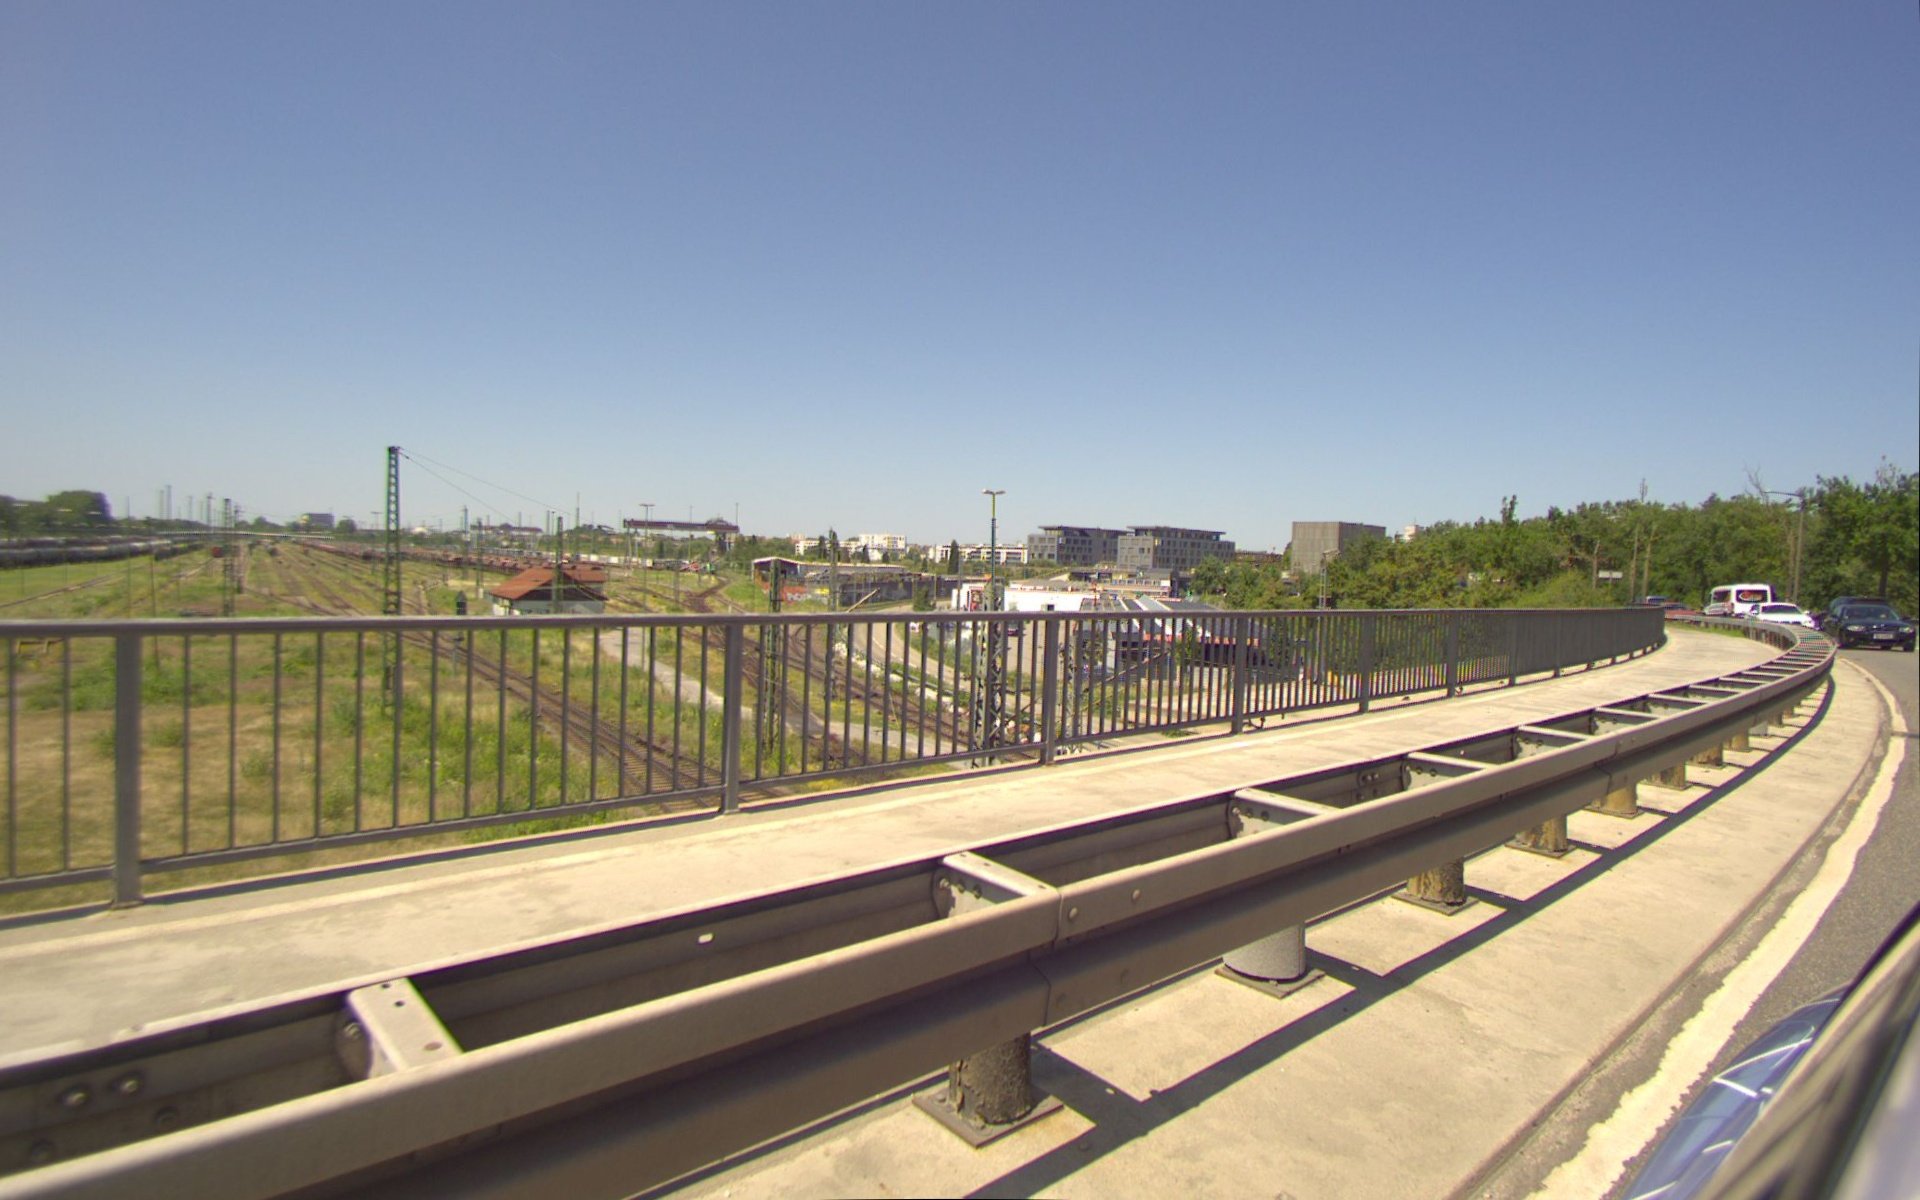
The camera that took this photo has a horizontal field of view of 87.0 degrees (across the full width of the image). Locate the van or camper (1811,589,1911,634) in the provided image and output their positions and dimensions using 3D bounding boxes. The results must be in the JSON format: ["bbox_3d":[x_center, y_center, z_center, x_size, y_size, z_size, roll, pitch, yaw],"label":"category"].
[{"bbox_3d":[40.131,0.450,45.238,1.979,1.782,4.660,1,2,24],"label":"van or camper"}]

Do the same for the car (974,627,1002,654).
[{"bbox_3d":[2.824,4.032,101.860,2.117,2.382,4.917,-4,-1,8],"label":"car"}]

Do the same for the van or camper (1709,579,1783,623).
[{"bbox_3d":[47.712,0.063,61.598,2.031,2.570,5.838,-1,0,23],"label":"van or camper"}]

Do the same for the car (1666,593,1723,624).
[{"bbox_3d":[43.888,0.485,60.558,1.881,1.675,4.224,1,2,24],"label":"car"}]

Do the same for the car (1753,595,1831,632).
[{"bbox_3d":[34.481,0.527,42.040,1.801,1.446,3.679,0,0,28],"label":"car"}]

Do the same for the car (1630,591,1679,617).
[{"bbox_3d":[52.347,0.278,76.328,1.737,1.878,4.254,0,0,15],"label":"car"}]

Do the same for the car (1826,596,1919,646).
[{"bbox_3d":[28.208,0.610,31.224,1.557,1.434,4.078,0,0,30],"label":"car"}]
